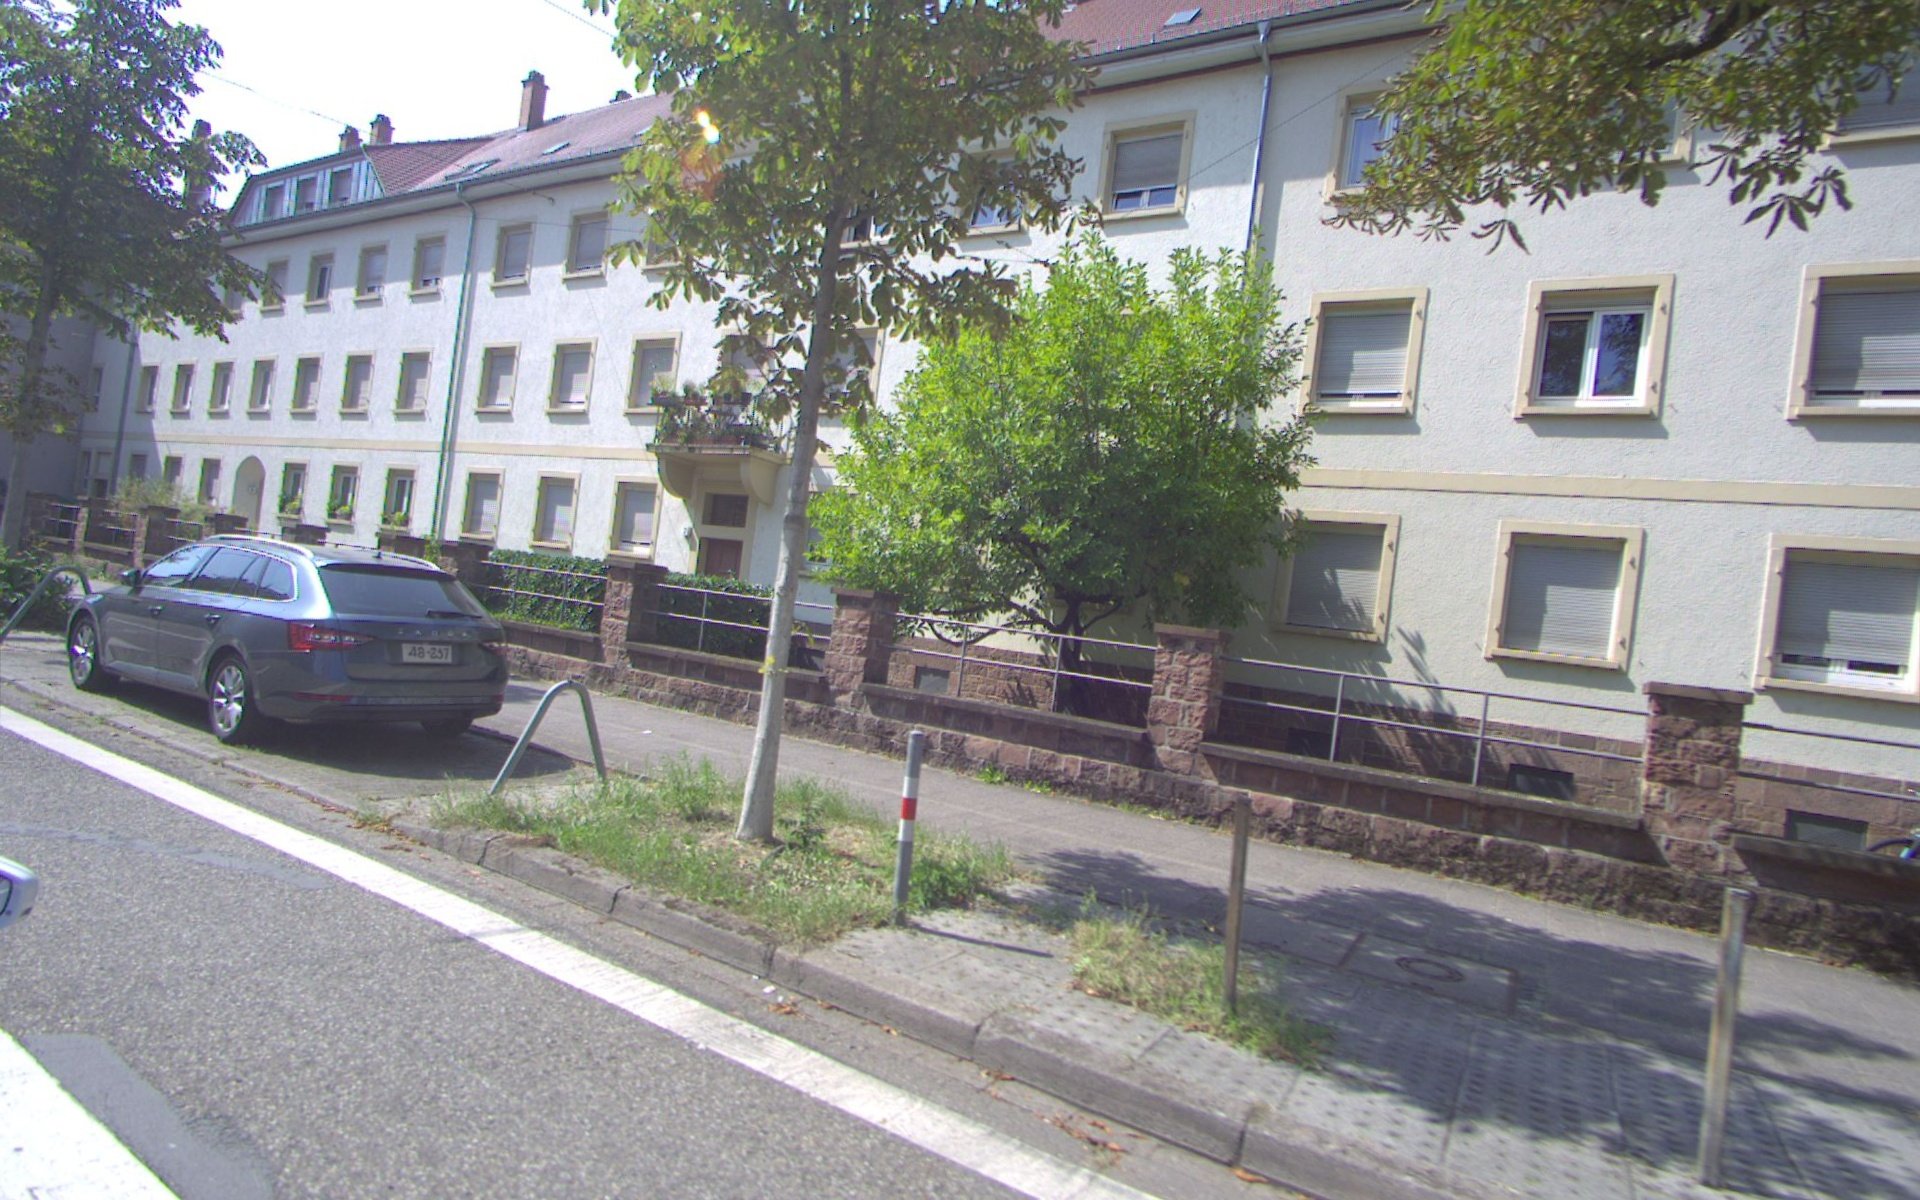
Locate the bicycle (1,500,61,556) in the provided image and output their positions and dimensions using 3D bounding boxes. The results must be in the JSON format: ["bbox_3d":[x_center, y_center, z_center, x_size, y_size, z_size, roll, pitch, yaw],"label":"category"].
[{"bbox_3d":[-25.813,-2.004,27.934,2.331,1.374,0.594,6,-1,34],"label":"bicycle"}]

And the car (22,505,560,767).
[{"bbox_3d":[-5.861,0.201,8.646,4.759,1.495,1.896,7,-1,31],"label":"car"}]

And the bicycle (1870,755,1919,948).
[{"bbox_3d":[7.218,1.812,6.701,1.554,1.273,0.402,7,0,32],"label":"bicycle"}]

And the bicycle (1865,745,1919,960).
[{"bbox_3d":[7.023,1.747,6.289,1.860,1.349,0.456,7,0,32],"label":"bicycle"}]
